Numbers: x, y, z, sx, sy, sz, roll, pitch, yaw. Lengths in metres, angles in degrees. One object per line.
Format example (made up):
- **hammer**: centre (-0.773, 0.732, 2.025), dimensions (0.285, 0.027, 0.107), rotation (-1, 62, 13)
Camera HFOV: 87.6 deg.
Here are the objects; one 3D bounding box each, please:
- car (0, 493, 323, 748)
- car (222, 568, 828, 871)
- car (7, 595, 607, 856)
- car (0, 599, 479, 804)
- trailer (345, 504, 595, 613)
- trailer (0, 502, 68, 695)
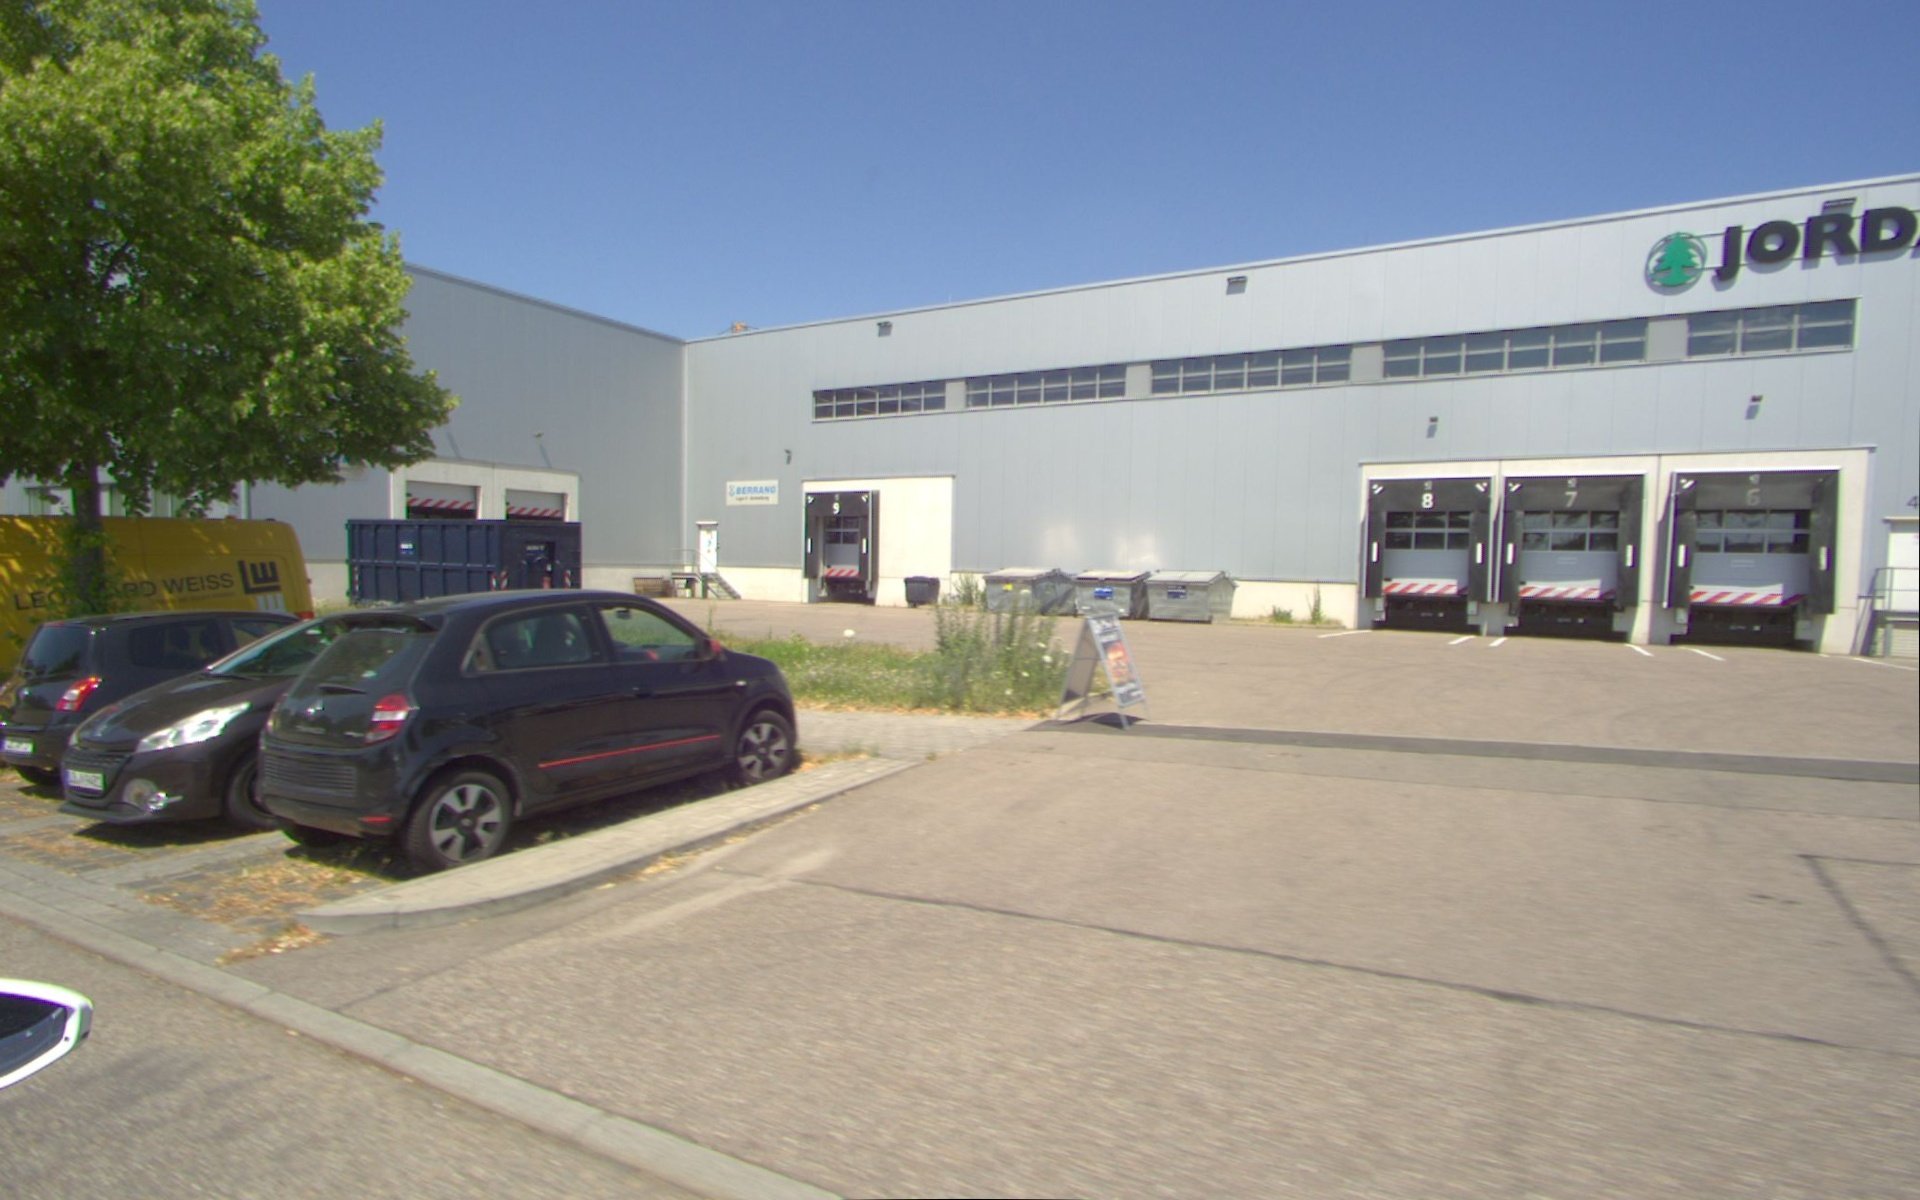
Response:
- **car**: centre (-11.063, 0.191, 11.748), dimensions (1.969, 2.771, 5.769), rotation (2, 3, 29)
- **car**: centre (-2.722, 0.564, 7.093), dimensions (1.603, 1.483, 3.652), rotation (0, 3, 31)
- **car**: centre (-4.897, 0.757, 8.108), dimensions (1.566, 1.527, 3.765), rotation (0, 1, 28)
- **car**: centre (-6.763, 0.775, 9.613), dimensions (1.603, 1.498, 3.597), rotation (0, 1, 29)
- **trailer**: centre (-13.333, -1.173, 26.998), dimensions (7.305, 2.454, 2.653), rotation (5, 3, 33)
- **trailer**: centre (-17.097, 0.002, 15.777), dimensions (5.432, 2.897, 2.653), rotation (0, 3, 27)
